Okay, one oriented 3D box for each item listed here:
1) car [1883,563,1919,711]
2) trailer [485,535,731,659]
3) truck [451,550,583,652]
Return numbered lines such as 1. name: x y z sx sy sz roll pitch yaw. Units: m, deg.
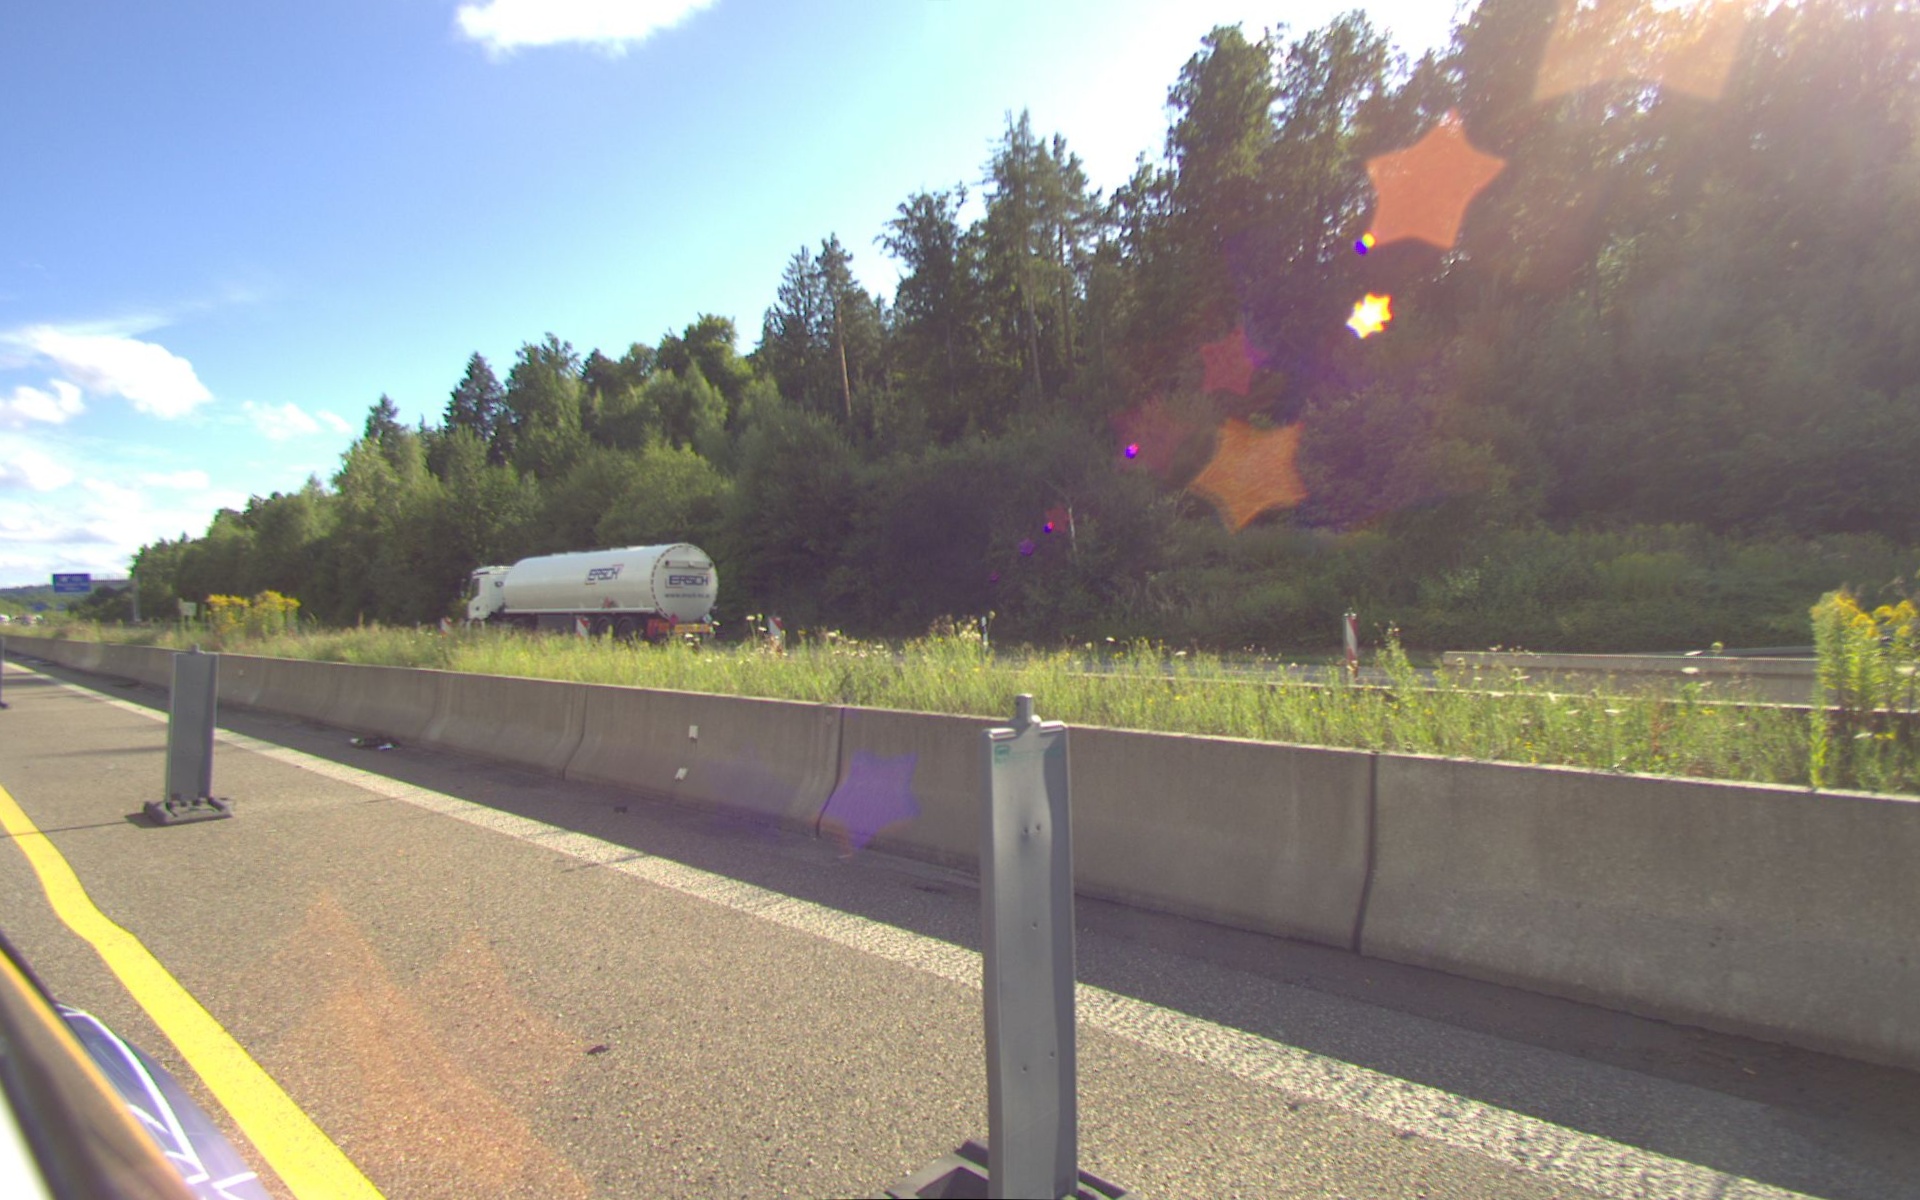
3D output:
1. car: 12.317 0.374 10.503 4.018 1.614 1.758 -1 0 43
2. trailer: -11.951 -0.020 33.418 11.112 3.516 2.771 -1 0 43
3. truck: -16.546 0.054 37.695 4.939 3.516 2.754 -1 0 43
